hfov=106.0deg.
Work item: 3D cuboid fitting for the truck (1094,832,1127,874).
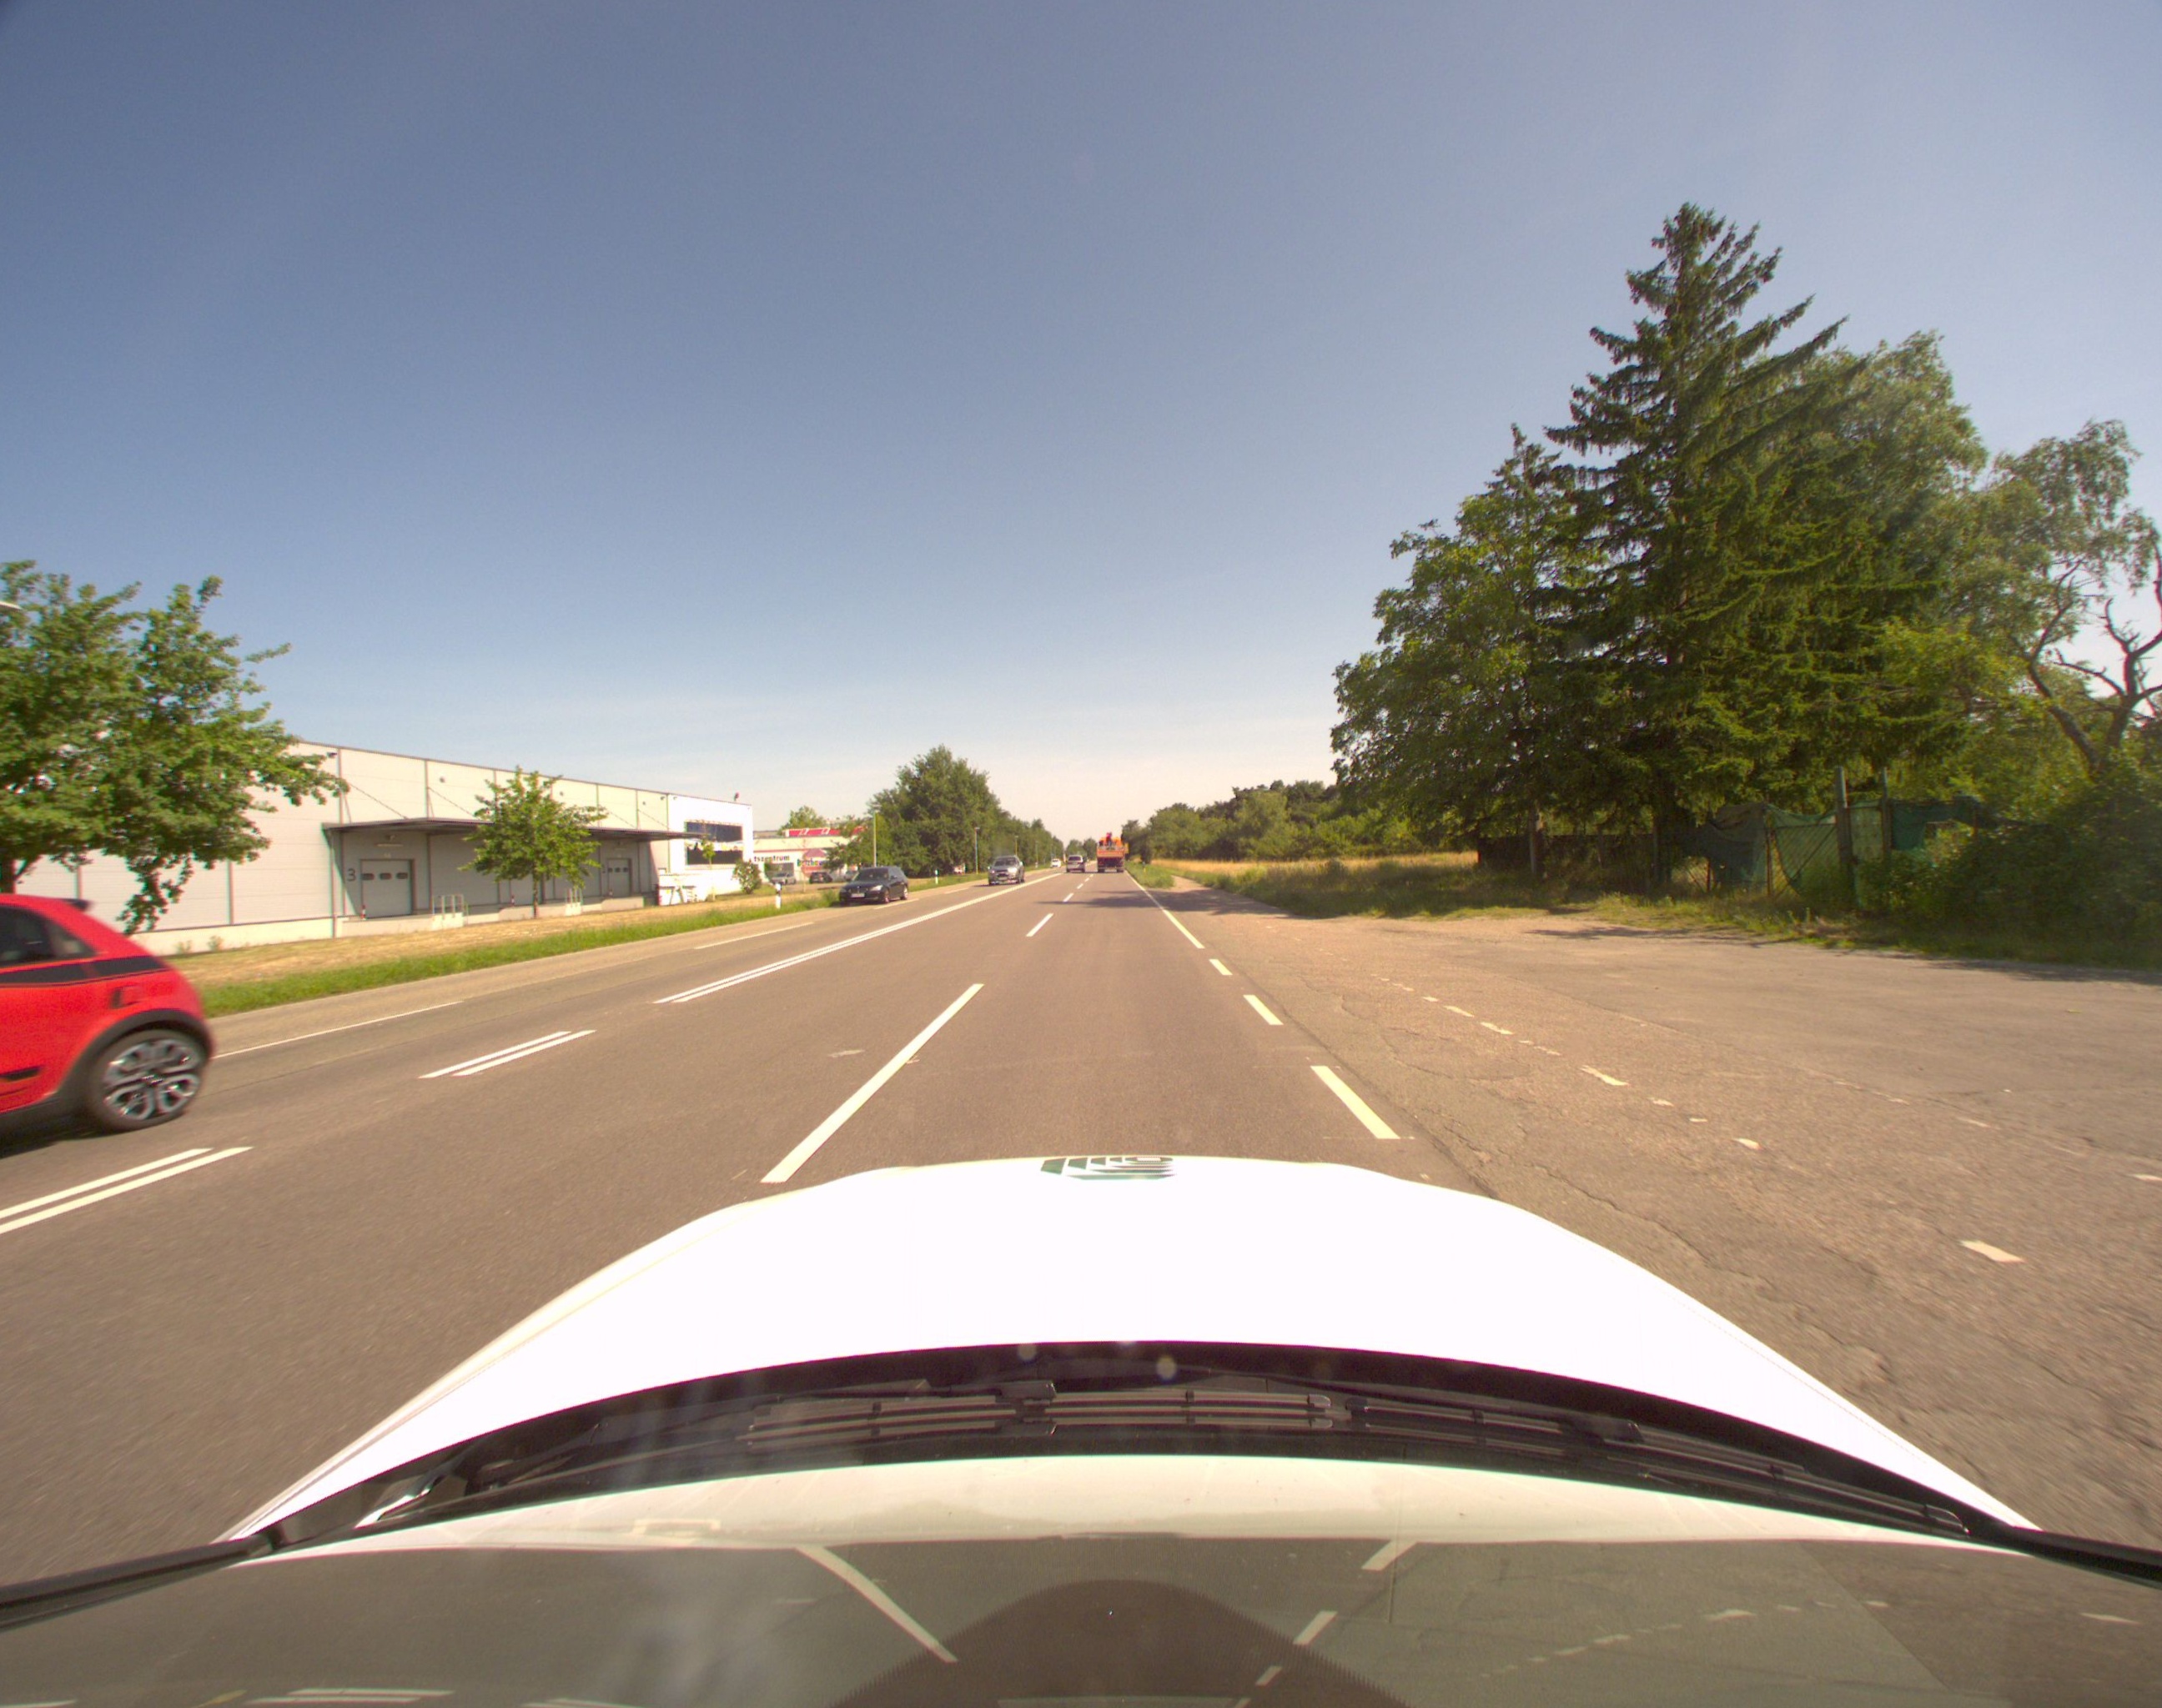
[{"bbox_3d":[2.758,-0.077,78.138,2.863,3.880,7.398,0,-1,0],"label":"truck"}]

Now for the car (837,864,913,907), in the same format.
[{"bbox_3d":[-8.212,1.213,32.886,1.646,1.480,4.742,-4,0,2],"label":"car"}]

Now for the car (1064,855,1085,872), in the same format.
[{"bbox_3d":[-0.605,0.937,80.452,1.987,1.583,4.000,-2,0,1],"label":"car"}]

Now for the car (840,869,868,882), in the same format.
[{"bbox_3d":[-28.439,2.734,102.132,1.750,1.501,3.952,-2,-1,-42],"label":"car"}]

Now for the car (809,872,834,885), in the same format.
[{"bbox_3d":[-30.182,2.829,94.808,1.630,1.390,3.724,-3,-1,1],"label":"car"}]

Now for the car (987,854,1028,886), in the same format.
[{"bbox_3d":[-4.365,0.906,49.059,1.765,1.714,4.571,-4,0,2],"label":"car"}]

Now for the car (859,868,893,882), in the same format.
[{"bbox_3d":[-26.487,2.688,105.297,3.972,1.501,1.758,-3,-1,1],"label":"car"}]

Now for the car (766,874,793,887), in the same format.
[{"bbox_3d":[-35.058,3.091,94.727,1.630,1.410,3.724,-3,-1,1],"label":"car"}]

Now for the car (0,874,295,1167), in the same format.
[{"bbox_3d":[-6.523,0.947,3.886,1.644,1.497,3.845,-4,0,2],"label":"car"}]

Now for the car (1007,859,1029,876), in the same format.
[{"bbox_3d":[-6.105,1.278,79.114,1.722,1.561,4.217,0,0,2],"label":"car"}]

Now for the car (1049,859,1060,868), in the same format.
[{"bbox_3d":[-4.509,1.589,138.975,1.653,1.437,3.737,-4,-1,2],"label":"car"}]
